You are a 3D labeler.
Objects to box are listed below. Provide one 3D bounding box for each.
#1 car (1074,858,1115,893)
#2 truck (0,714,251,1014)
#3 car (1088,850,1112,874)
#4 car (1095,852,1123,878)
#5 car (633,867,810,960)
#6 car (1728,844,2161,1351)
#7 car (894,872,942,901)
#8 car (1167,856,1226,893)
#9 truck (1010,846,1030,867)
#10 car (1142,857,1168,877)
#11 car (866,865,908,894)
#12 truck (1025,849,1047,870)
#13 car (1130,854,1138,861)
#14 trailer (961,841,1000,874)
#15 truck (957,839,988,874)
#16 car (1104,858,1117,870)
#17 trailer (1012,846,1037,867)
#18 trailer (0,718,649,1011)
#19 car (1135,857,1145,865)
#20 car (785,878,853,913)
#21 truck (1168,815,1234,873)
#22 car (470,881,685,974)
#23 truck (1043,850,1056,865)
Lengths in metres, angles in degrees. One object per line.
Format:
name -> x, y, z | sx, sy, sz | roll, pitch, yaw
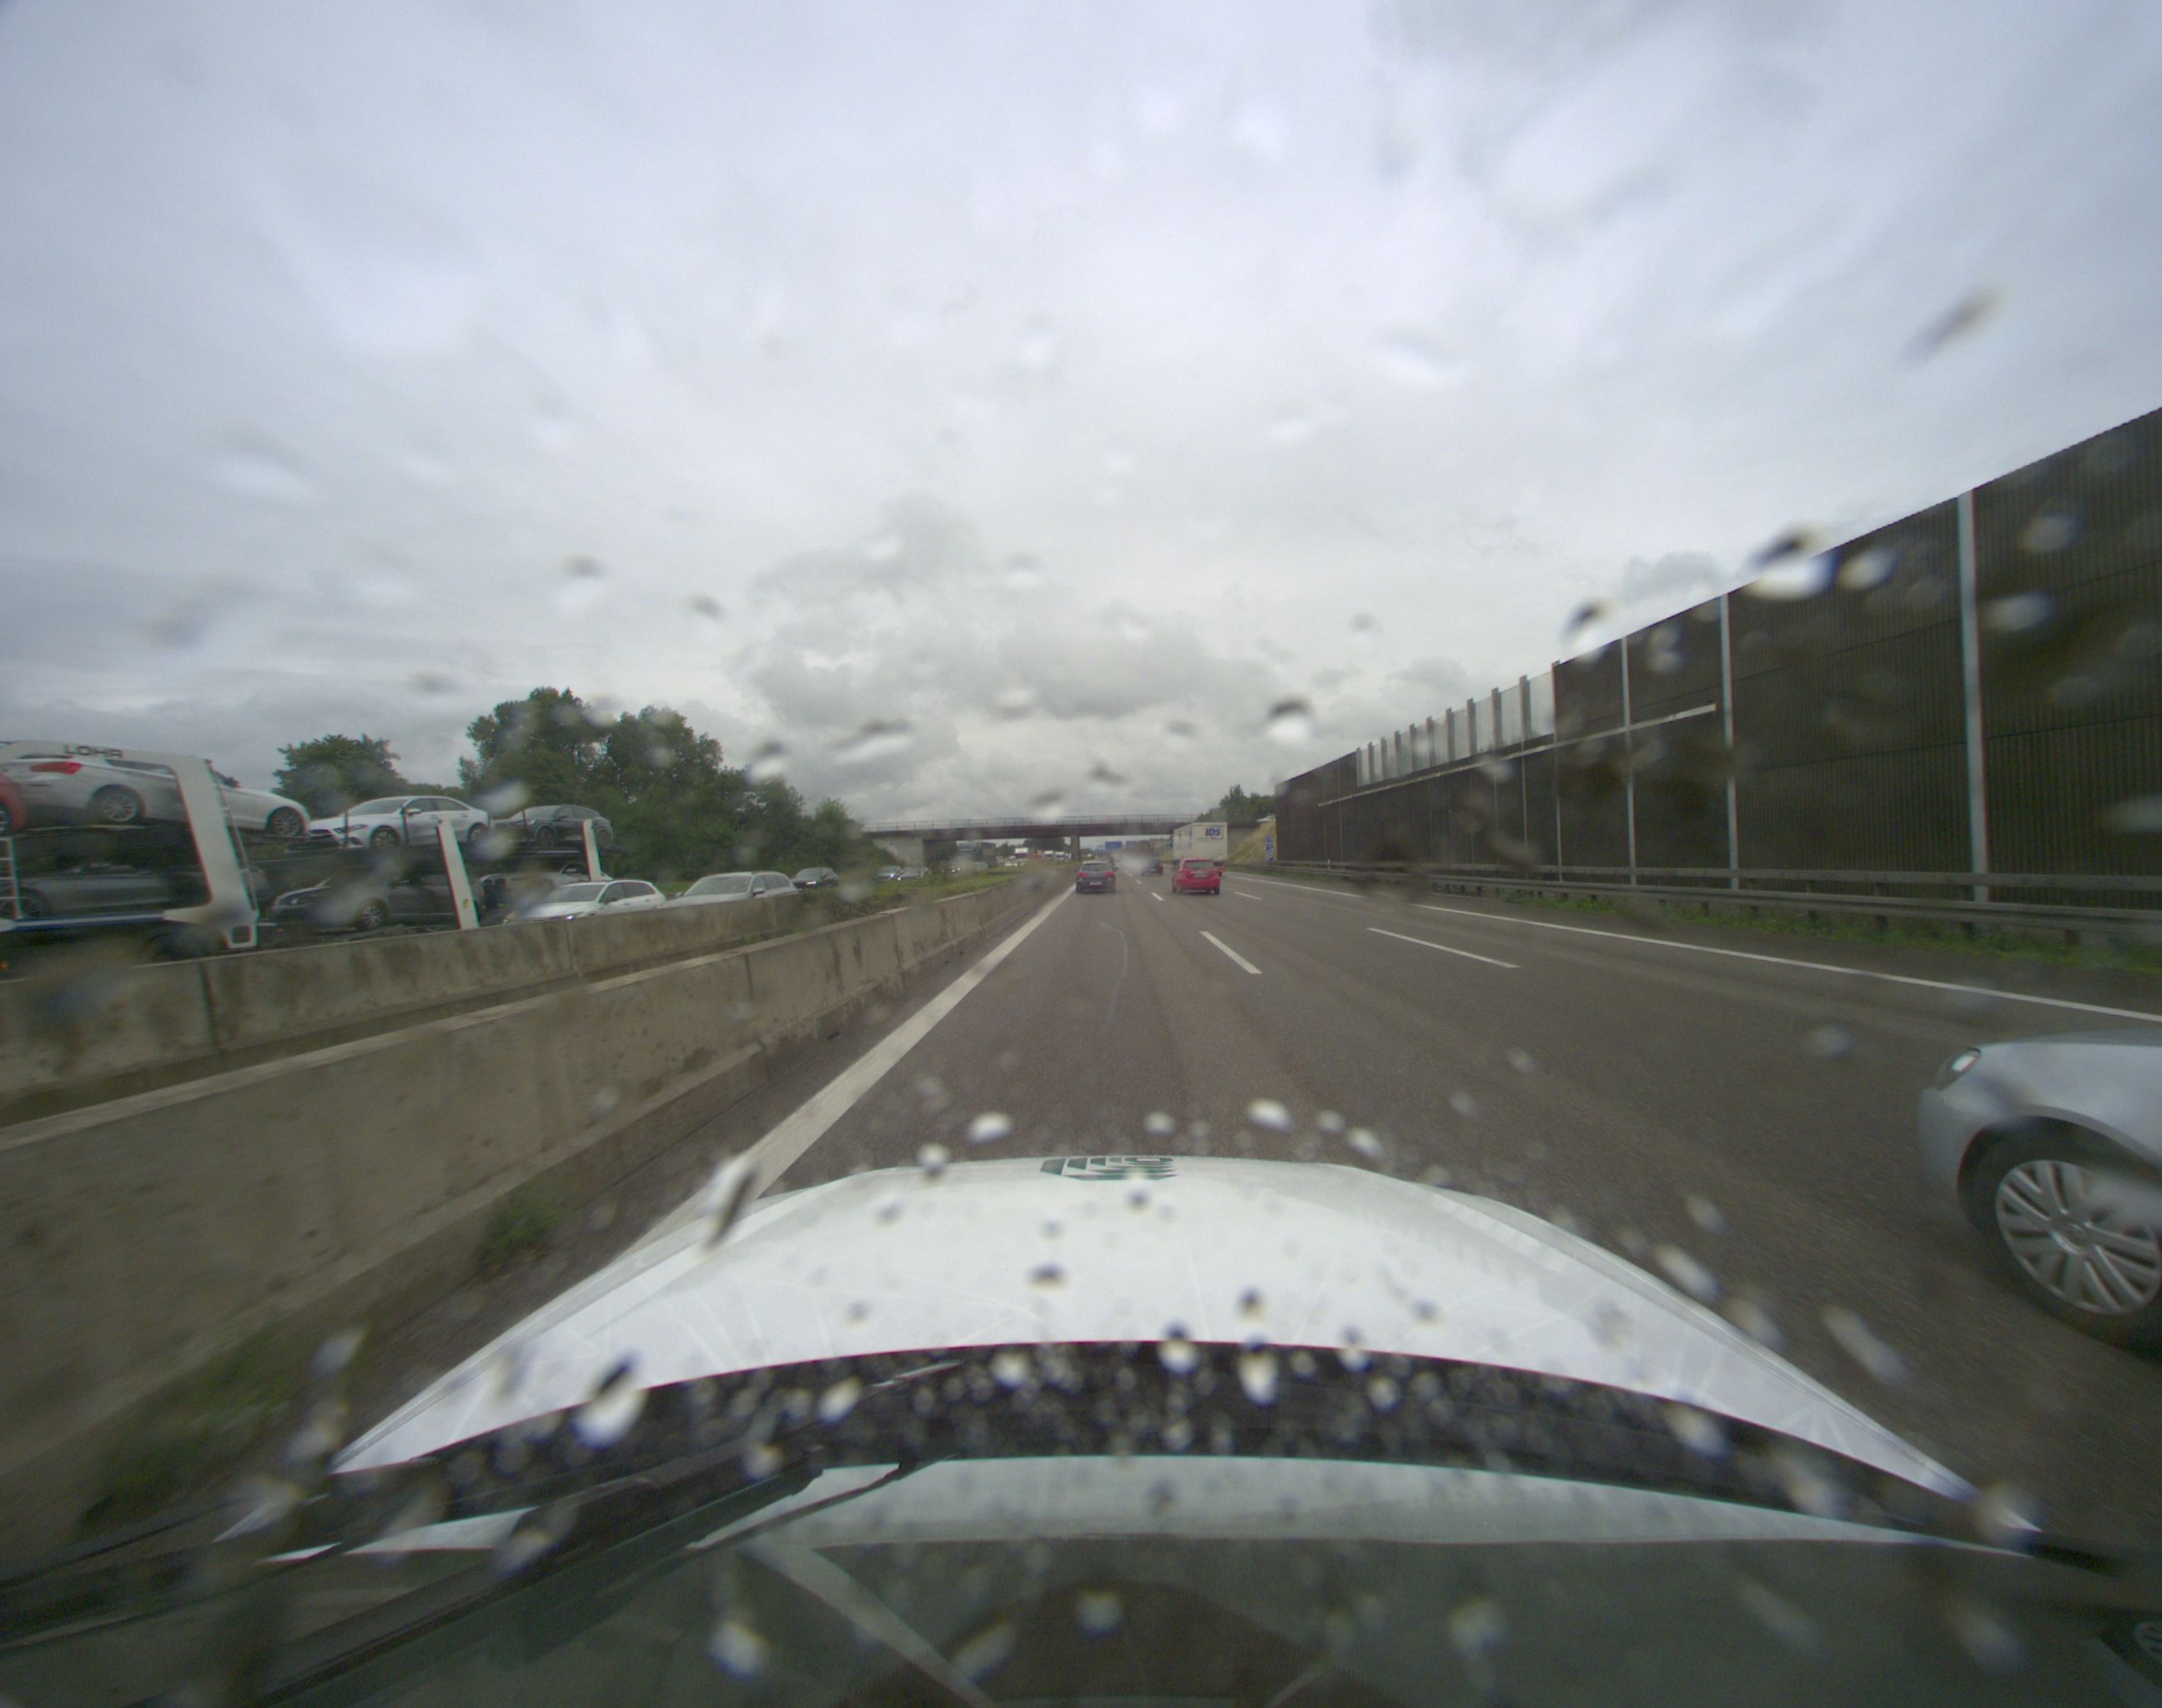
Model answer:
car -> 0.624, 0.929, 36.509 | 1.762, 1.467, 4.001 | 0, -1, 1
truck -> -16.718, 0.145, 11.727 | 2.946, 4.242, 6.236 | 0, -1, 1
car -> 1.528, 0.648, 65.842 | 1.819, 1.850, 4.001 | -2, 0, 2
car -> 2.157, 0.833, 62.882 | 1.986, 1.861, 4.002 | -3, 0, 2
car -> -8.119, 1.248, 18.959 | 1.920, 1.879, 4.592 | 0, -1, 2
car -> 3.913, 0.679, 1.616 | 1.735, 1.425, 4.518 | -1, 0, 1
car -> -10.987, 2.177, 55.280 | 2.085, 1.710, 4.803 | -1, 0, 3
car -> 4.794, 0.810, 34.450 | 1.884, 1.446, 4.685 | -1, 0, 1
truck -> -11.766, 0.508, 158.424 | 3.260, 4.045, 5.294 | 0, -1, 2
car -> 6.154, 1.049, 67.978 | 1.914, 1.522, 4.624 | -1, 0, 2
car -> -14.698, 1.925, 61.832 | 1.986, 2.013, 4.002 | -3, 0, 2
truck -> -10.767, 1.317, 195.918 | 4.018, 4.944, 14.439 | 0, -1, 2
car -> 14.559, 1.062, 222.208 | 1.986, 1.812, 4.229 | -3, 0, 2
trailer -> -12.906, 0.480, 105.741 | 2.747, 4.050, 14.524 | 0, -1, 2
truck -> -13.132, 0.314, 98.887 | 2.747, 4.050, 6.257 | 0, -1, 2
car -> 4.585, 1.497, 126.774 | 1.699, 1.796, 3.854 | -3, 0, 0
trailer -> -11.450, 0.601, 166.694 | 3.311, 3.979, 15.751 | 0, -1, 2
trailer -> -16.407, 0.241, 19.678 | 2.987, 4.242, 15.714 | 0, -1, 2
car -> 12.300, 1.433, 170.369 | 1.839, 1.687, 4.000 | 0, -1, 1
car -> -15.052, 2.340, 47.115 | 2.085, 1.710, 4.965 | -1, 0, 3
truck -> 9.786, -0.616, 68.877 | 3.271, 4.295, 19.037 | 0, -1, 2
car -> -12.032, 1.663, 19.986 | 1.986, 1.879, 5.034 | 0, -1, 2
truck -> -9.044, 0.952, 234.002 | 2.965, 4.319, 9.674 | 0, -1, 2
